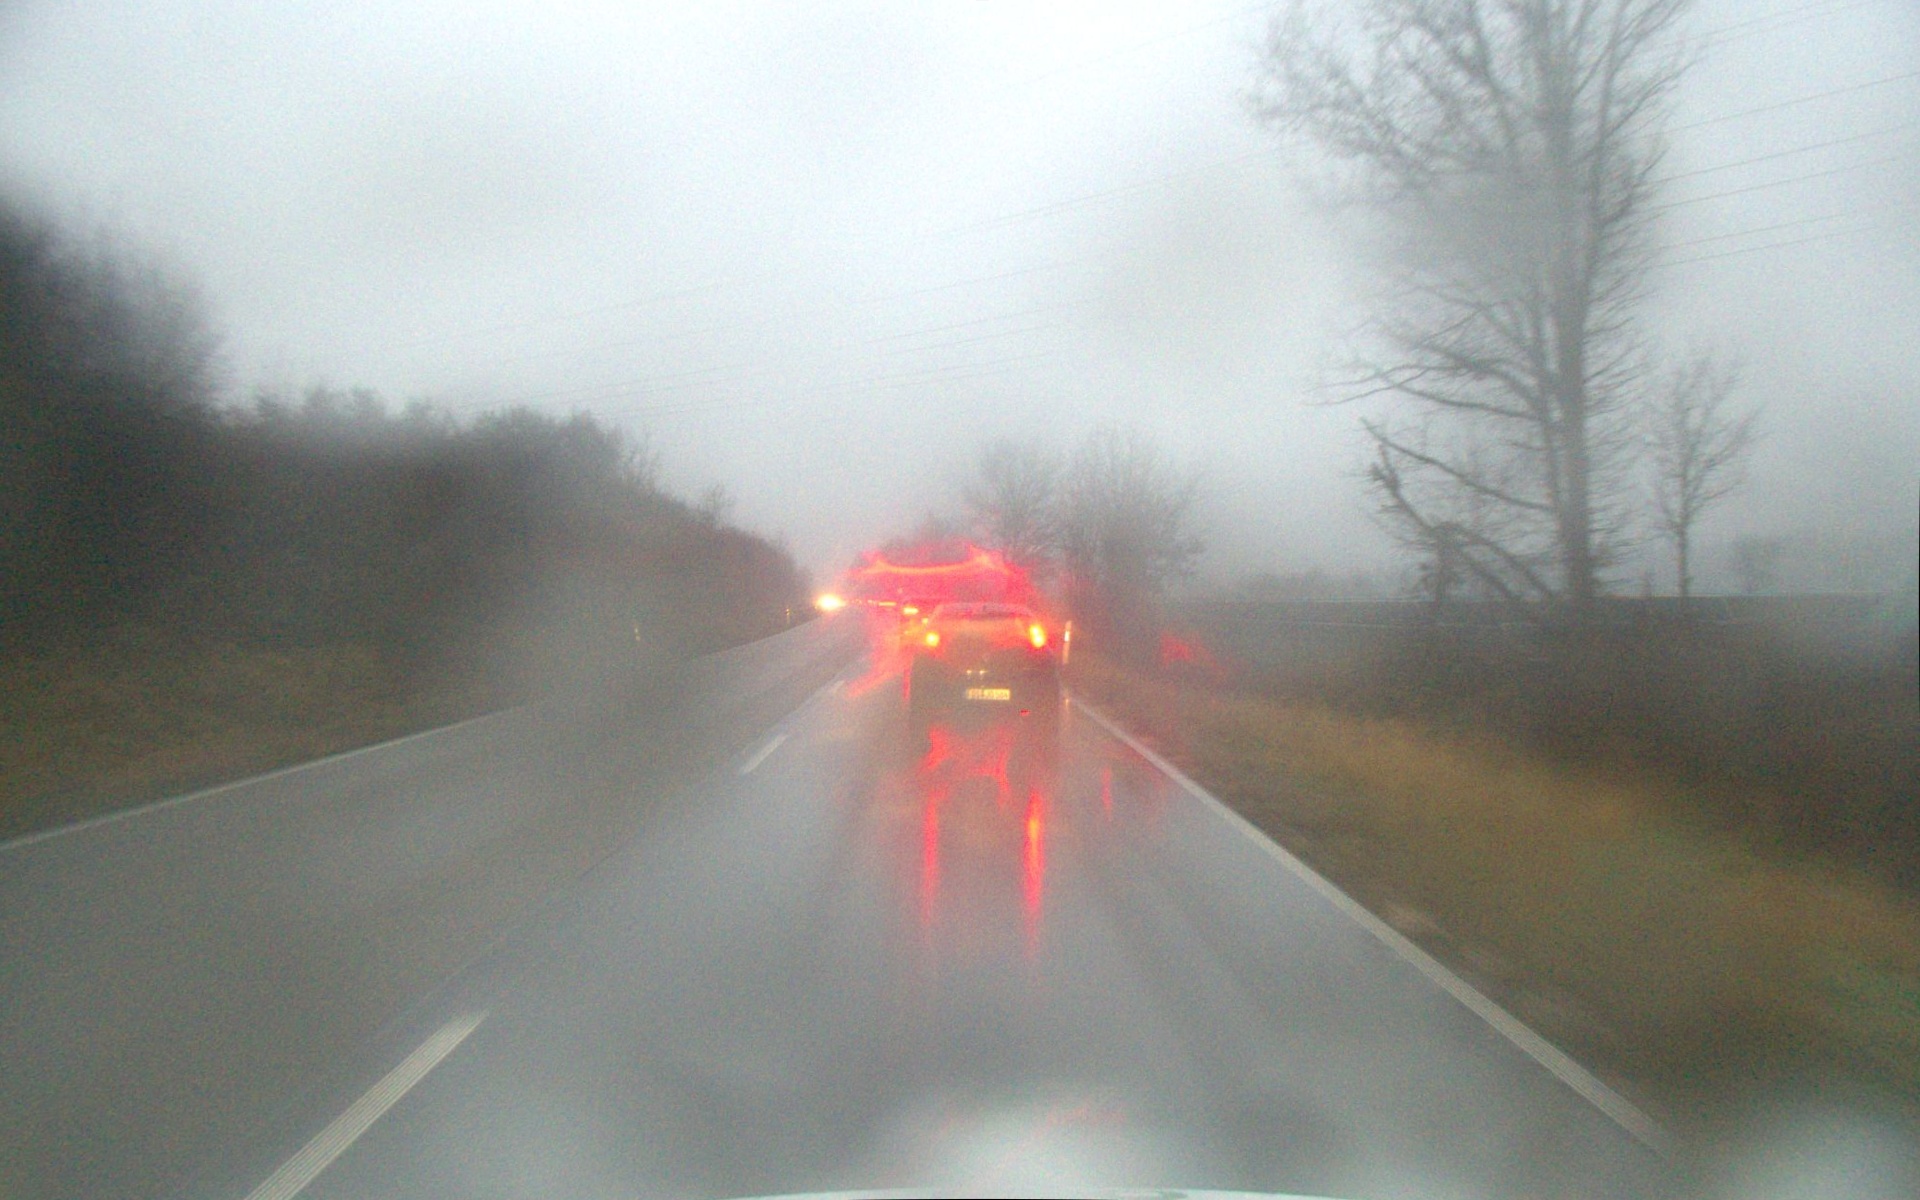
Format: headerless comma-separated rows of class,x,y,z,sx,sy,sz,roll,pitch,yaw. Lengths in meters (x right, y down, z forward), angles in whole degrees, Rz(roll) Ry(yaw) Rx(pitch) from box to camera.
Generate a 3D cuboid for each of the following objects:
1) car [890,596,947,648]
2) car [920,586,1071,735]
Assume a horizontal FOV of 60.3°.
car,-1.173,0.599,48.004,1.515,1.421,3.869,1,0,0
car,0.372,0.636,19.394,1.569,1.549,3.869,1,0,0
